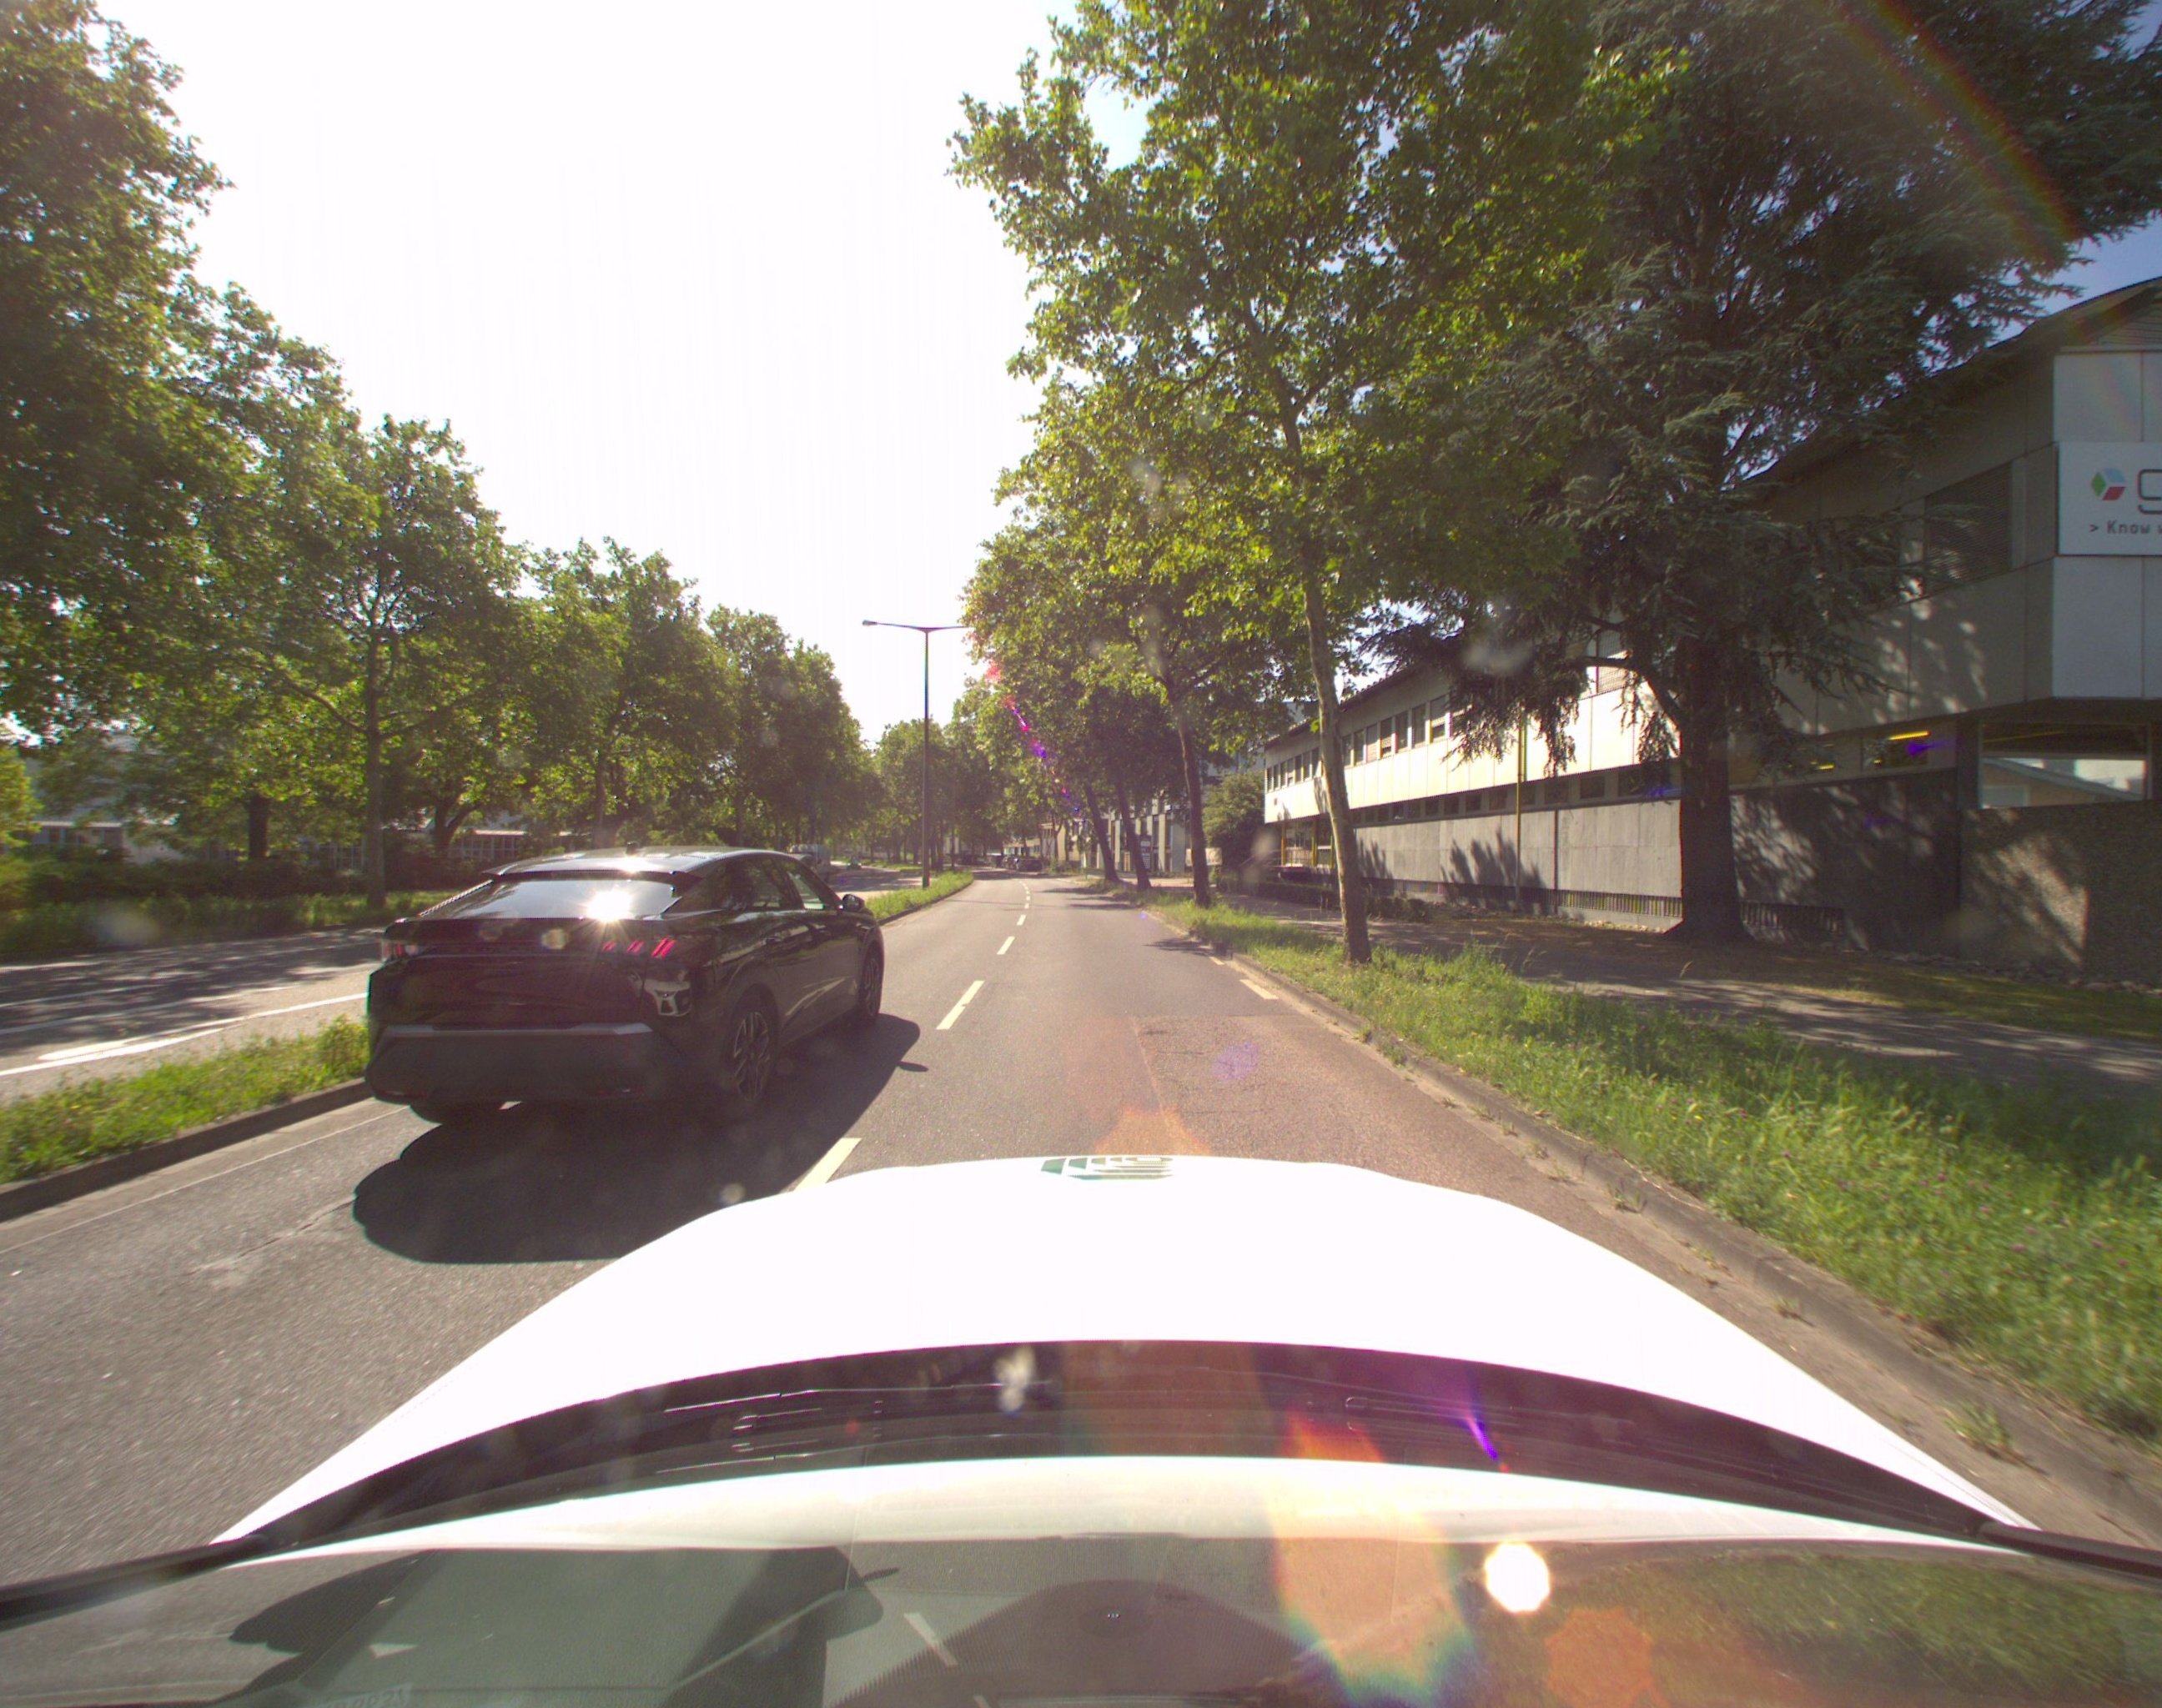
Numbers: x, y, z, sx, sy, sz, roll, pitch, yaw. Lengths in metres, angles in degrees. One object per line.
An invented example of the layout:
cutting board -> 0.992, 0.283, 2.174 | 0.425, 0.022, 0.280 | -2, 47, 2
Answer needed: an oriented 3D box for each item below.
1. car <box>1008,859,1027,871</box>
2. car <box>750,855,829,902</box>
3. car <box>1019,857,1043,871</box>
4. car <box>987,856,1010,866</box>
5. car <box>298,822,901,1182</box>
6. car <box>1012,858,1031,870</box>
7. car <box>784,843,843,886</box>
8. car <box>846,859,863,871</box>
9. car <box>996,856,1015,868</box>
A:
car -> -7.971, 1.332, 101.985 | 1.708, 1.455, 4.637 | 0, 0, -12
car -> -12.320, 0.969, 34.781 | 1.681, 1.839, 4.991 | -1, 0, -2
car -> -5.601, 1.077, 91.365 | 1.710, 1.487, 4.693 | -1, 0, -16
car -> -13.502, 1.106, 133.045 | 3.563, 1.640, 1.648 | 0, -1, -20
car -> -2.803, 0.704, 6.138 | 1.866, 1.696, 4.435 | -1, 0, 0
car -> -7.058, 1.177, 96.714 | 1.708, 1.488, 4.084 | 0, 0, -12
car -> -17.540, 0.707, 53.770 | 2.057, 2.613, 7.205 | -1, -1, -4
car -> -30.862, 1.444, 110.931 | 1.794, 1.556, 4.381 | 0, -1, -10
car -> -10.583, 1.092, 113.829 | 1.711, 1.669, 4.508 | 0, 0, -17
